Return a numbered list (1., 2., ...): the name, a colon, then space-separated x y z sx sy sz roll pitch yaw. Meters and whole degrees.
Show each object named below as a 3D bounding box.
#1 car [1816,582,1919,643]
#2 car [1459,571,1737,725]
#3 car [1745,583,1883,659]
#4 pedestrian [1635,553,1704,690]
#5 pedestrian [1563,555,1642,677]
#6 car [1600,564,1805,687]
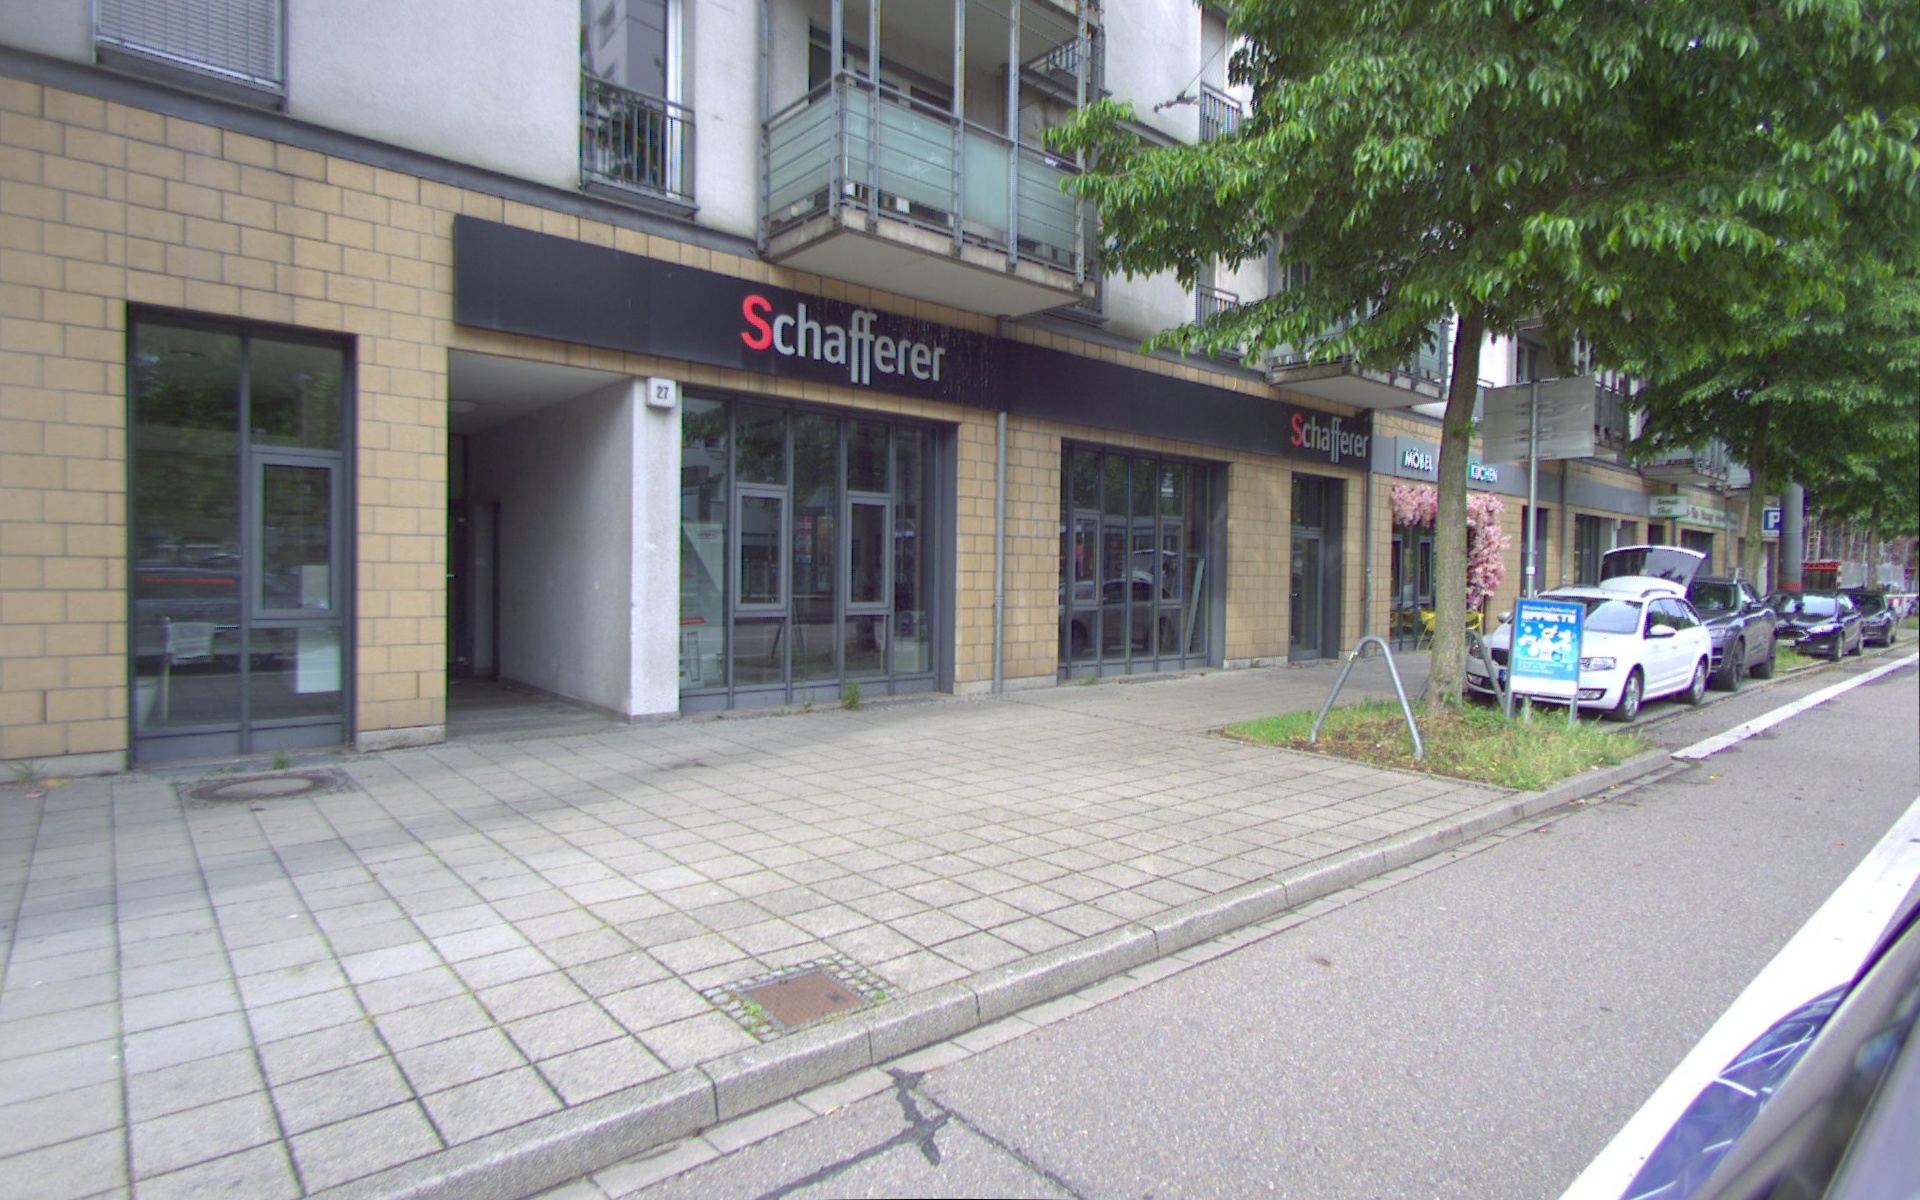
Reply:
1. car: 24.174 0.288 26.870 3.603 1.417 1.612 -1 5 -41
2. car: 8.138 0.474 12.757 4.233 1.539 1.738 -1 5 -41
3. car: 18.652 0.386 22.045 4.095 1.394 1.612 -1 5 -41
4. pedestrian: 10.171 0.285 14.509 0.588 1.907 0.656 0 1 -40
5. pedestrian: 9.541 0.213 15.041 0.606 1.737 0.739 0 3 -34
6. car: 11.811 0.318 16.030 3.732 1.630 1.738 -1 5 -41
